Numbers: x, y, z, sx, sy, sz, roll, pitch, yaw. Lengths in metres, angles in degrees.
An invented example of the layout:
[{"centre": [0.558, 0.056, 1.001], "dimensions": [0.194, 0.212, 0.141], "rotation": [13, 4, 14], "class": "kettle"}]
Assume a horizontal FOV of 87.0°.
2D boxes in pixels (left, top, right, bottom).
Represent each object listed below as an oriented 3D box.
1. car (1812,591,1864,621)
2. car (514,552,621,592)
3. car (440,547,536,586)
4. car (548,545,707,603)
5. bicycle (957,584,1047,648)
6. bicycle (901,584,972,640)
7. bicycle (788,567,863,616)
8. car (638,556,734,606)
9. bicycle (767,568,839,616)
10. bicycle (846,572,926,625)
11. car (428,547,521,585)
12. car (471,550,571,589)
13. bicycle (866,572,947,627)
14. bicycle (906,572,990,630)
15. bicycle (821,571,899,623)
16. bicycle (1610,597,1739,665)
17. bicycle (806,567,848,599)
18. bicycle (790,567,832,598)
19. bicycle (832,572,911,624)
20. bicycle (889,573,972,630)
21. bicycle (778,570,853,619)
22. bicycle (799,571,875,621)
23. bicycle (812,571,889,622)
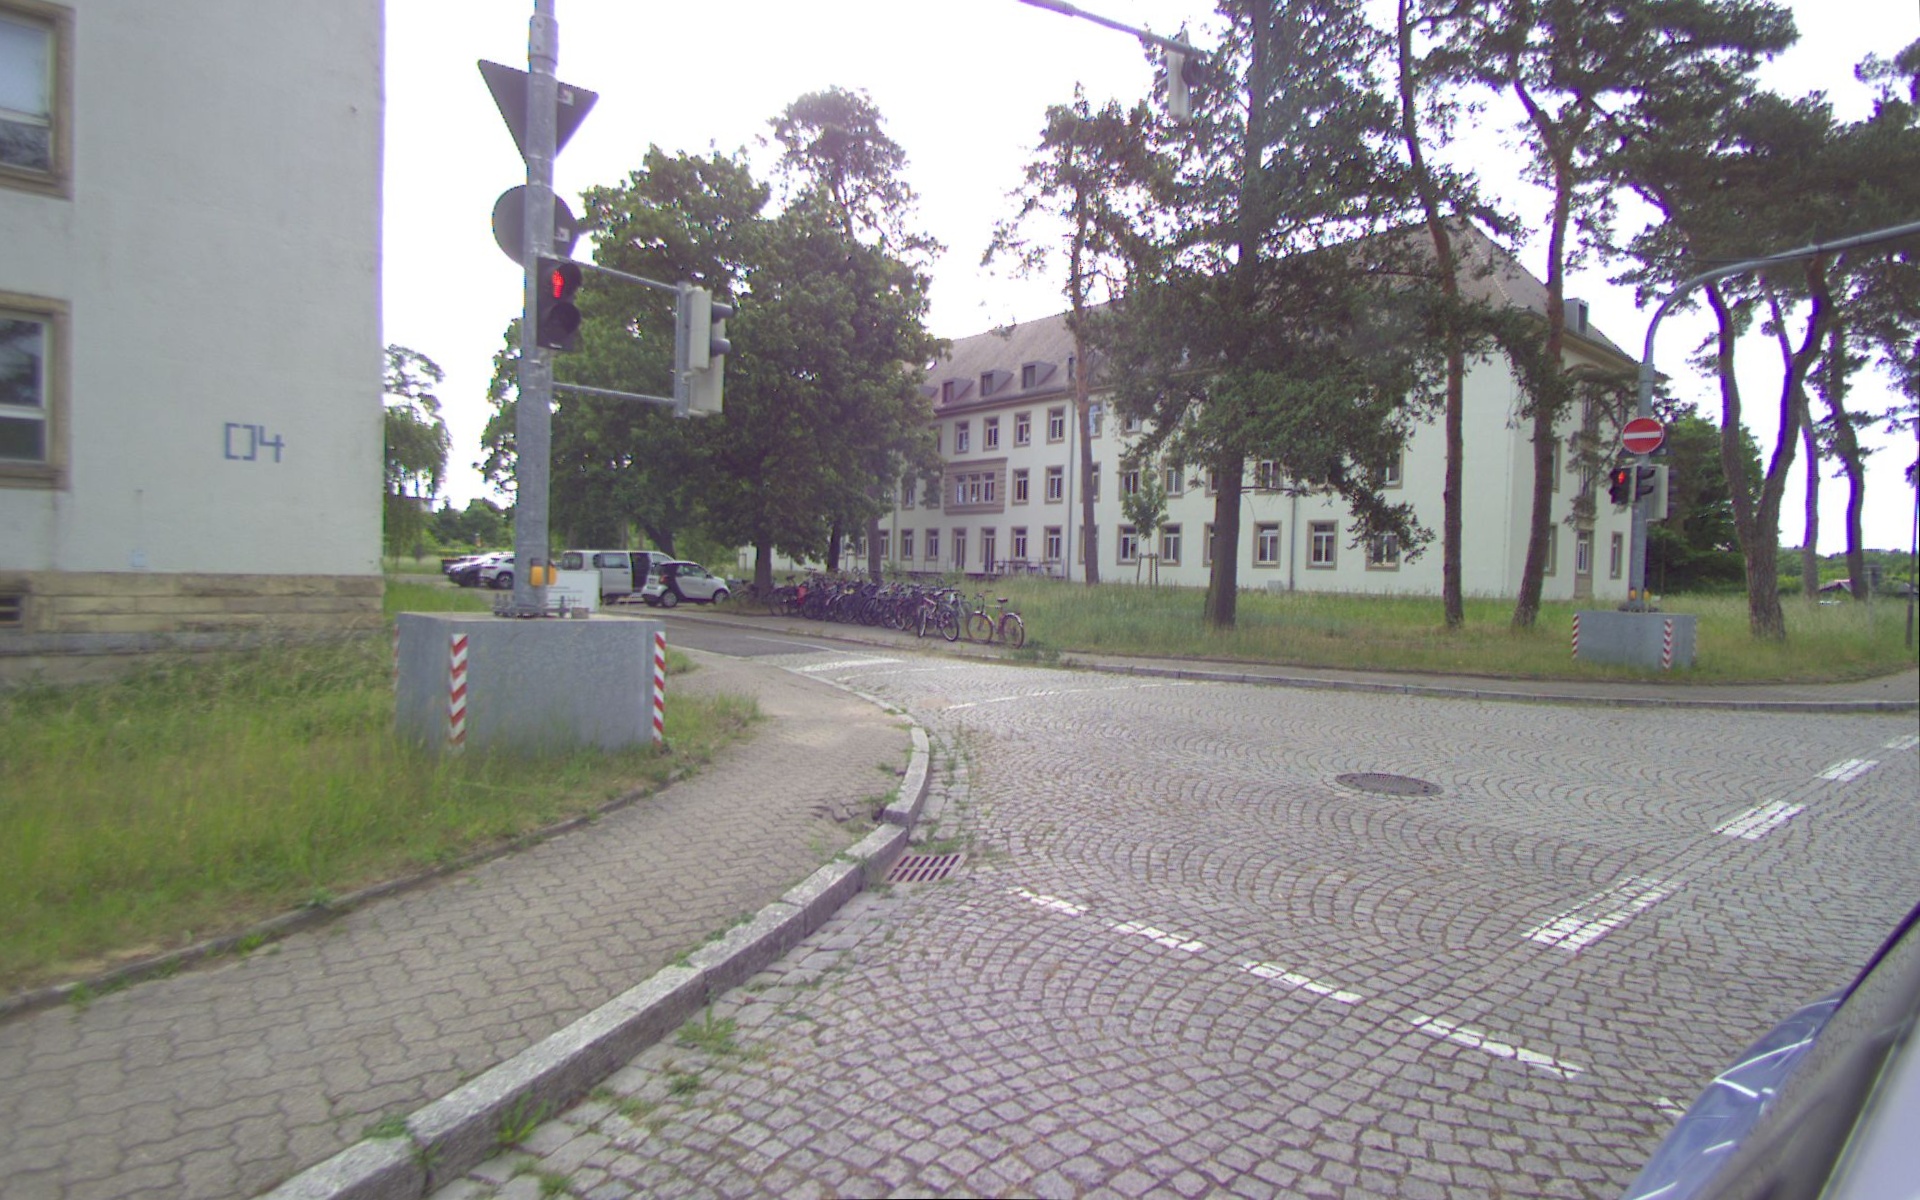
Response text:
[{"centre": [46.341, 0.337, 53.388], "dimensions": [3.137, 1.455, 1.487], "rotation": [1, 1, -38], "class": "car"}, {"centre": [-16.860, -1.192, 43.533], "dimensions": [3.969, 1.641, 1.681], "rotation": [0, 2, -37], "class": "car"}, {"centre": [-23.164, -1.639, 49.714], "dimensions": [3.974, 1.821, 1.679], "rotation": [0, 2, -41], "class": "car"}, {"centre": [-12.009, -0.973, 36.888], "dimensions": [2.137, 1.939, 5.254], "rotation": [2, 3, 36], "class": "car"}, {"centre": [0.785, 0.287, 19.660], "dimensions": [0.612, 1.127, 1.989], "rotation": [2, 1, -36], "class": "bicycle"}, {"centre": [-0.513, 0.233, 21.119], "dimensions": [0.612, 1.096, 1.678], "rotation": [2, 1, -35], "class": "bicycle"}, {"centre": [-3.583, -0.213, 27.106], "dimensions": [1.954, 1.263, 0.623], "rotation": [1, 1, -41], "class": "bicycle"}, {"centre": [-9.339, -0.655, 34.599], "dimensions": [2.806, 1.576, 1.471], "rotation": [-1, 4, -40], "class": "car"}, {"centre": [-4.332, -0.249, 27.982], "dimensions": [1.955, 1.263, 0.623], "rotation": [-2, 3, -41], "class": "bicycle"}, {"centre": [-1.818, -0.021, 25.006], "dimensions": [1.954, 1.263, 0.623], "rotation": [1, 1, -41], "class": "bicycle"}, {"centre": [-24.750, -1.726, 51.667], "dimensions": [3.974, 1.821, 1.679], "rotation": [0, 2, -41], "class": "car"}, {"centre": [-20.670, -1.430, 47.722], "dimensions": [3.974, 1.739, 1.679], "rotation": [0, 2, -41], "class": "car"}, {"centre": [-1.269, 0.009, 24.346], "dimensions": [1.954, 1.263, 0.623], "rotation": [1, 1, -41], "class": "bicycle"}, {"centre": [-0.265, 0.032, 23.161], "dimensions": [1.954, 1.263, 0.623], "rotation": [1, 1, -41], "class": "bicycle"}, {"centre": [-2.541, -0.061, 25.909], "dimensions": [1.954, 1.263, 0.623], "rotation": [1, 1, -41], "class": "bicycle"}, {"centre": [12.276, 0.502, 17.439], "dimensions": [0.571, 0.981, 1.678], "rotation": [-2, 5, -35], "class": "bicycle"}, {"centre": [-4.842, -0.613, 36.943], "dimensions": [1.525, 1.138, 0.401], "rotation": [0, 1, -38], "class": "bicycle"}, {"centre": [-5.569, -0.658, 37.937], "dimensions": [1.525, 1.138, 0.401], "rotation": [0, 1, -38], "class": "bicycle"}, {"centre": [-2.217, -0.043, 25.496], "dimensions": [1.954, 1.263, 0.623], "rotation": [1, 1, -41], "class": "bicycle"}, {"centre": [-0.667, 0.042, 23.644], "dimensions": [1.954, 1.263, 0.623], "rotation": [1, 1, -41], "class": "bicycle"}, {"centre": [-3.914, -0.135, 27.476], "dimensions": [1.954, 1.263, 0.623], "rotation": [1, 1, -41], "class": "bicycle"}, {"centre": [-3.242, -0.099, 26.727], "dimensions": [1.954, 1.263, 0.623], "rotation": [1, 1, -41], "class": "bicycle"}, {"centre": [-2.812, -0.075, 26.152], "dimensions": [1.954, 1.263, 0.623], "rotation": [1, 1, -41], "class": "bicycle"}]
